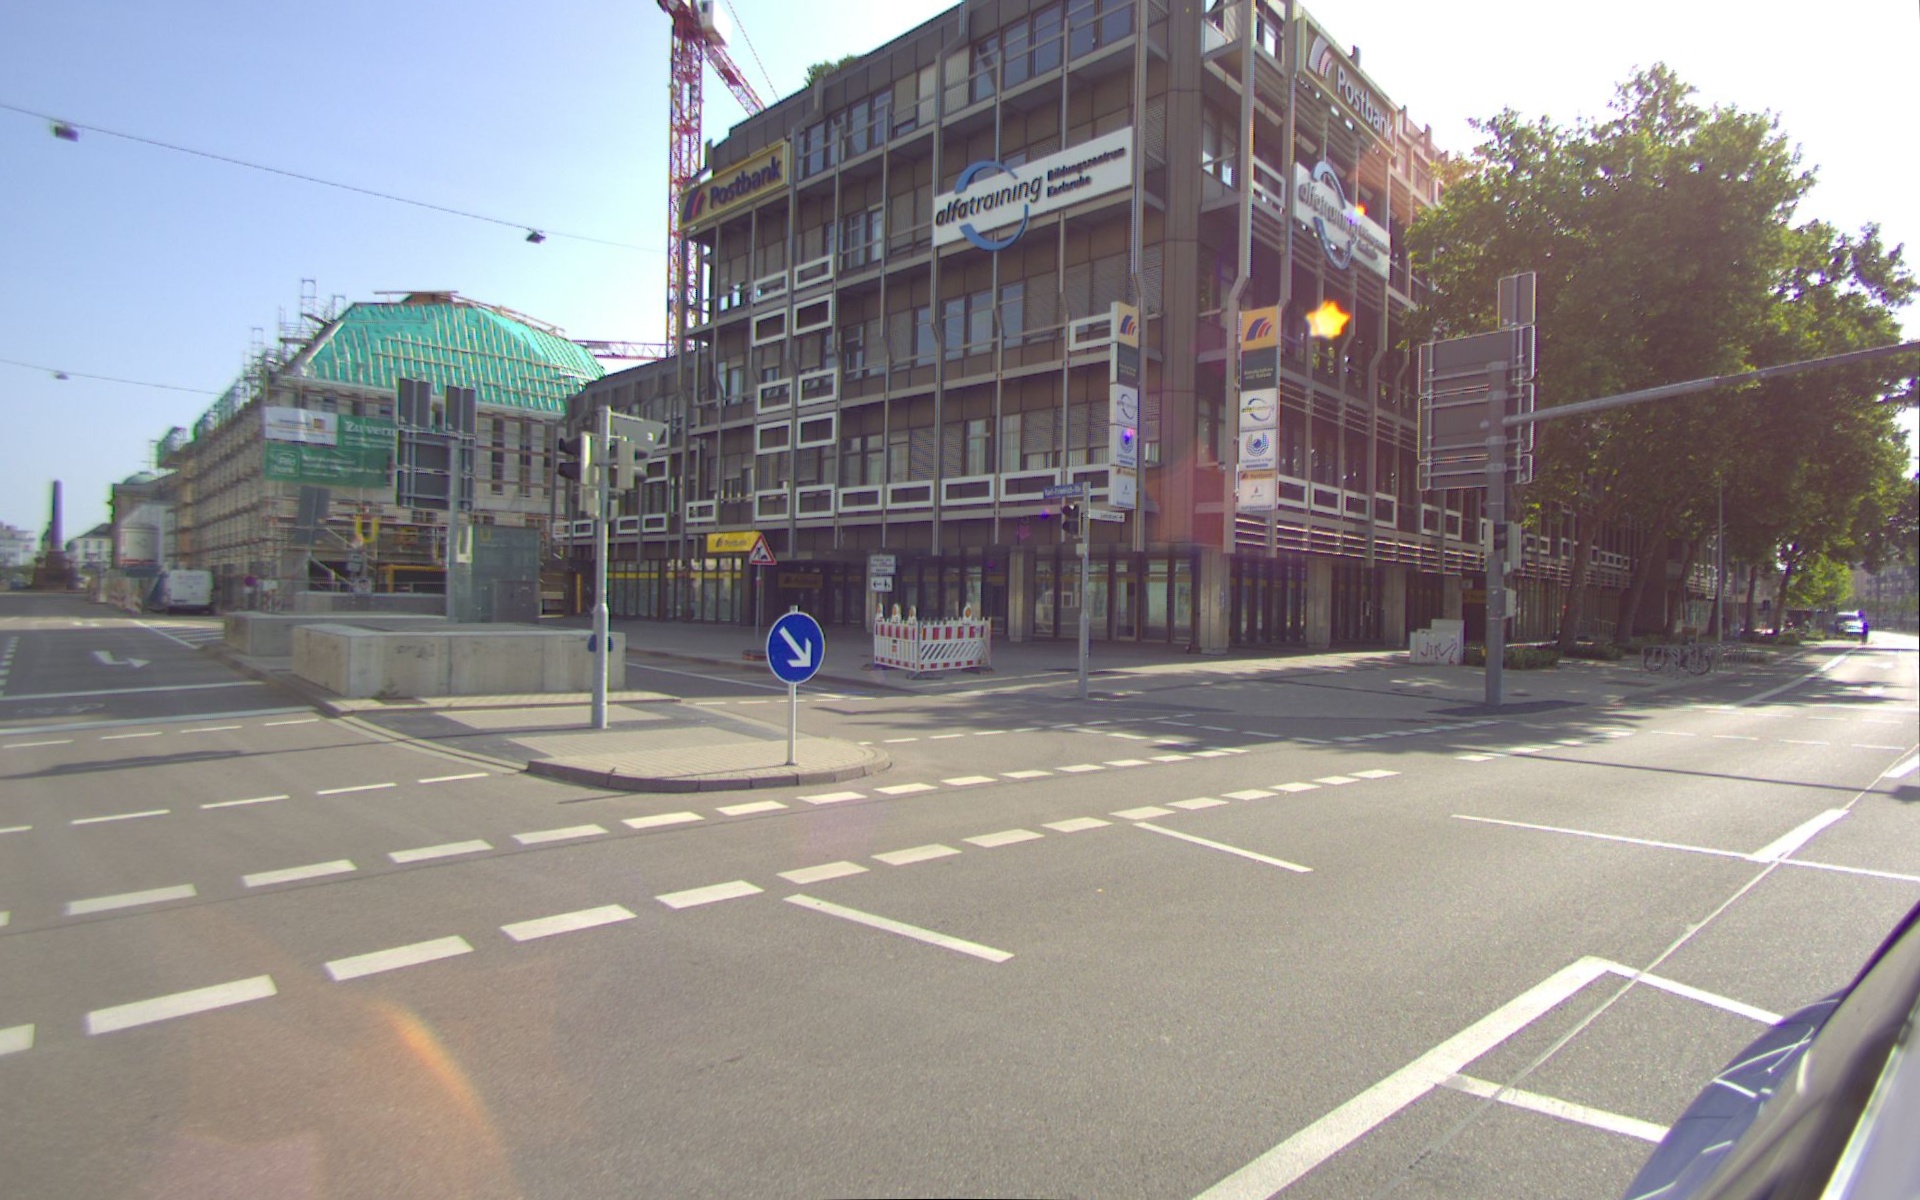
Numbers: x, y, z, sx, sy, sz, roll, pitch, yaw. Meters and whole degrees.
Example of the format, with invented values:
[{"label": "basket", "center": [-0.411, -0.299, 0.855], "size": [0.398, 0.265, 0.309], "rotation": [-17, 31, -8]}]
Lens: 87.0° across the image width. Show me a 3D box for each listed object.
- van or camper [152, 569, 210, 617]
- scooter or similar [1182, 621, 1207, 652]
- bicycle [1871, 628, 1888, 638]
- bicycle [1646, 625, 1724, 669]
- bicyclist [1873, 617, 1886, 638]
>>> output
[{"label": "van or camper", "center": [-41.578, -0.399, 53.979], "size": [1.966, 2.440, 5.133], "rotation": [1, 0, -43]}, {"label": "scooter or similar", "center": [6.865, 1.061, 29.601], "size": [0.278, 0.854, 0.944], "rotation": [0, -1, 43]}, {"label": "bicycle", "center": [67.468, 2.407, 74.247], "size": [0.626, 0.715, 1.787], "rotation": [1, -1, 34]}, {"label": "bicycle", "center": [21.894, 1.398, 30.579], "size": [0.528, 1.203, 1.831], "rotation": [1, 1, -40]}, {"label": "bicyclist", "center": [67.529, 1.991, 74.327], "size": [0.608, 1.533, 0.804], "rotation": [0, -1, 34]}]
